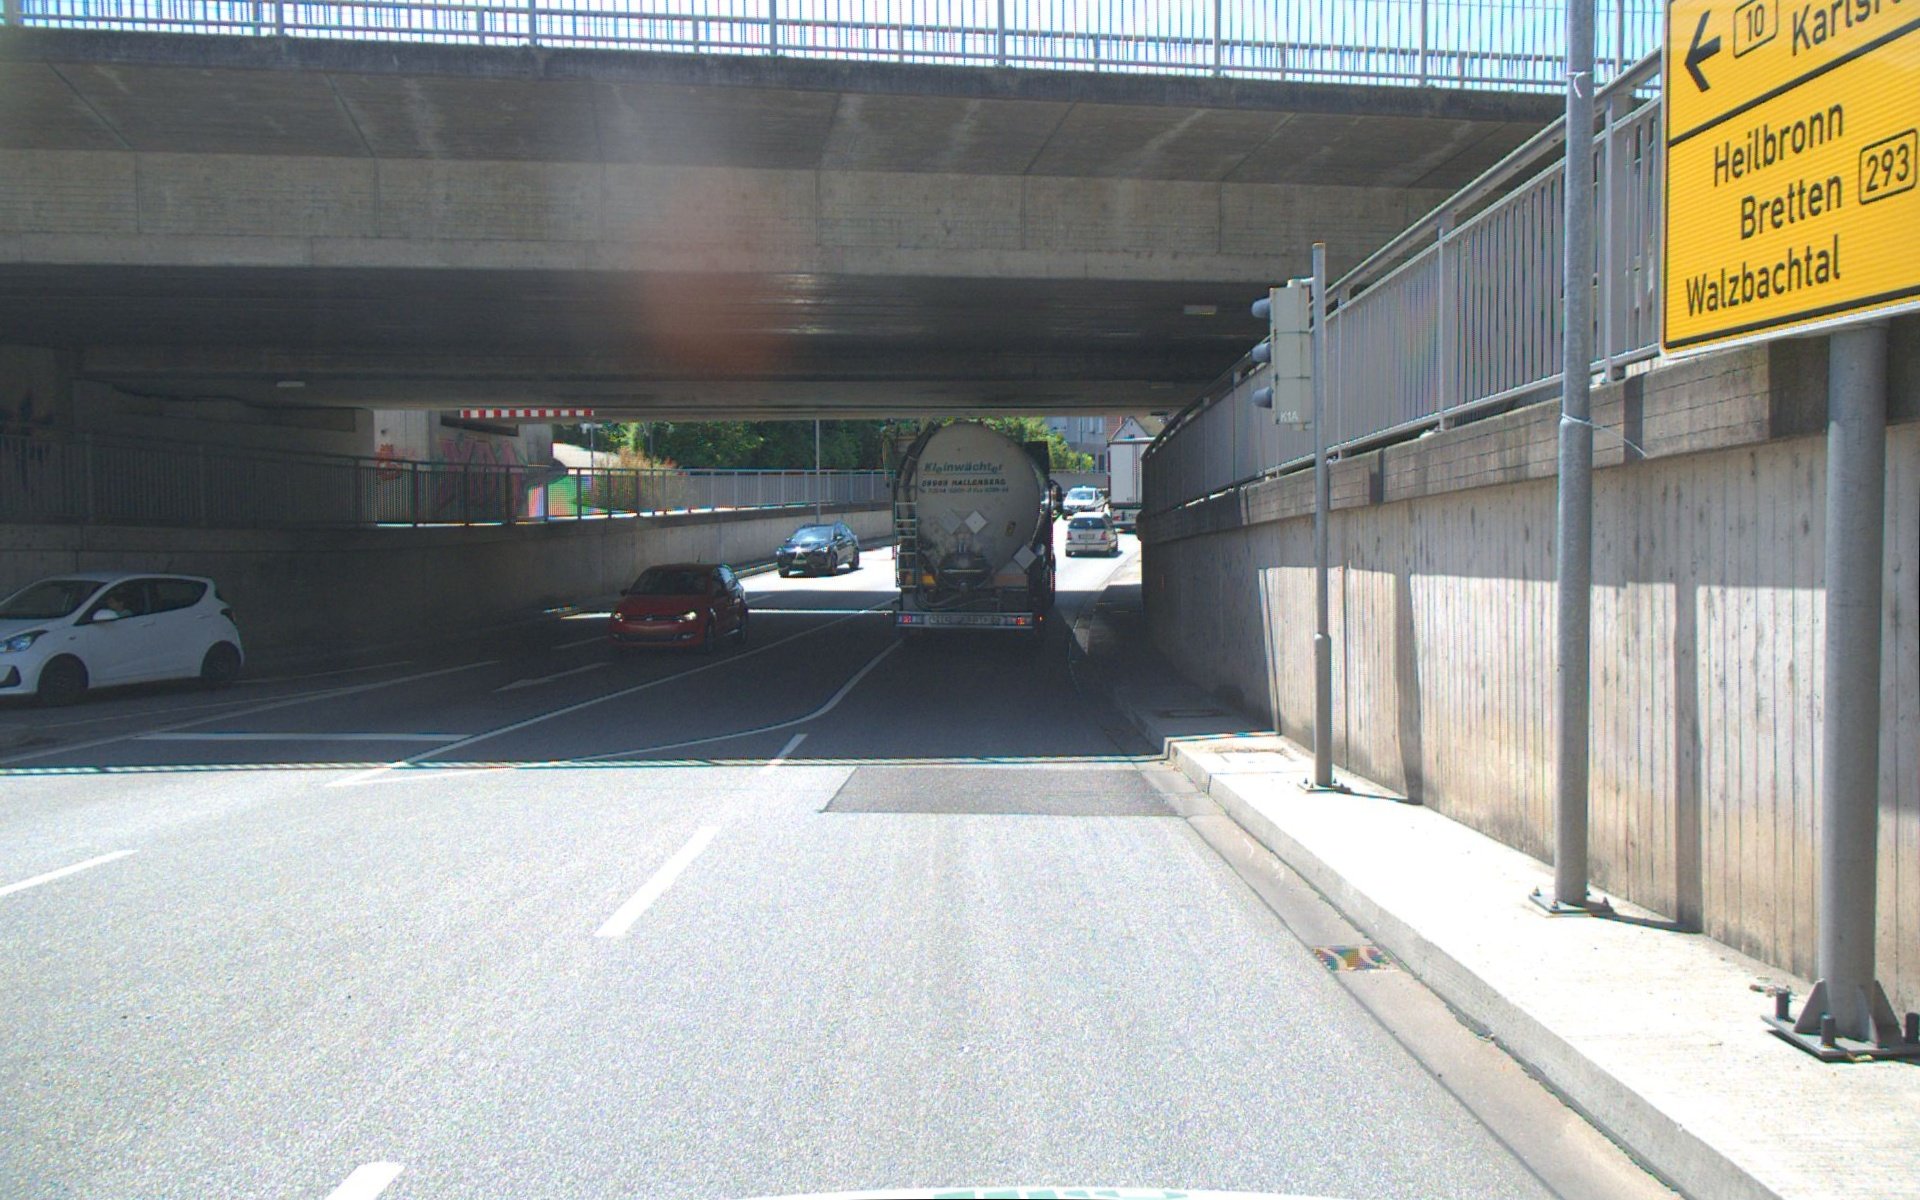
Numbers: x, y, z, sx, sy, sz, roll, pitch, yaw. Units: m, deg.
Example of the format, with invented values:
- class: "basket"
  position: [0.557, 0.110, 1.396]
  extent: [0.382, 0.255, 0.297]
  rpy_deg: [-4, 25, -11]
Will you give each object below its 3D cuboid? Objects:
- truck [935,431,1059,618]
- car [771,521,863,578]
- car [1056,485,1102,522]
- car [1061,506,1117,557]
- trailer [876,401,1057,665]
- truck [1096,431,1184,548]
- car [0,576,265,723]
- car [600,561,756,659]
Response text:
- class: "truck"
  position: [1.010, -1.872, 39.885]
  extent: [2.677, 4.134, 6.535]
  rpy_deg: [0, 3, 4]
- class: "car"
  position: [-4.515, -1.638, 52.897]
  extent: [1.857, 1.556, 4.006]
  rpy_deg: [-1, 4, 11]
- class: "car"
  position: [6.212, -5.025, 85.752]
  extent: [1.754, 1.712, 4.006]
  rpy_deg: [2, 6, 13]
- class: "car"
  position: [4.812, -2.574, 61.406]
  extent: [1.842, 1.667, 4.006]
  rpy_deg: [1, 5, 8]
- class: "trailer"
  position: [0.476, -1.449, 32.664]
  extent: [2.677, 4.134, 13.325]
  rpy_deg: [0, 3, 4]
- class: "truck"
  position: [8.534, -5.208, 77.329]
  extent: [3.015, 5.085, 10.096]
  rpy_deg: [1, 4, 12]
- class: "car"
  position: [-10.466, 0.523, 19.944]
  extent: [1.742, 1.492, 3.836]
  rpy_deg: [-1, 2, 17]
- class: "car"
  position: [-4.709, 0.113, 28.146]
  extent: [1.706, 1.490, 3.828]
  rpy_deg: [0, 2, 5]
